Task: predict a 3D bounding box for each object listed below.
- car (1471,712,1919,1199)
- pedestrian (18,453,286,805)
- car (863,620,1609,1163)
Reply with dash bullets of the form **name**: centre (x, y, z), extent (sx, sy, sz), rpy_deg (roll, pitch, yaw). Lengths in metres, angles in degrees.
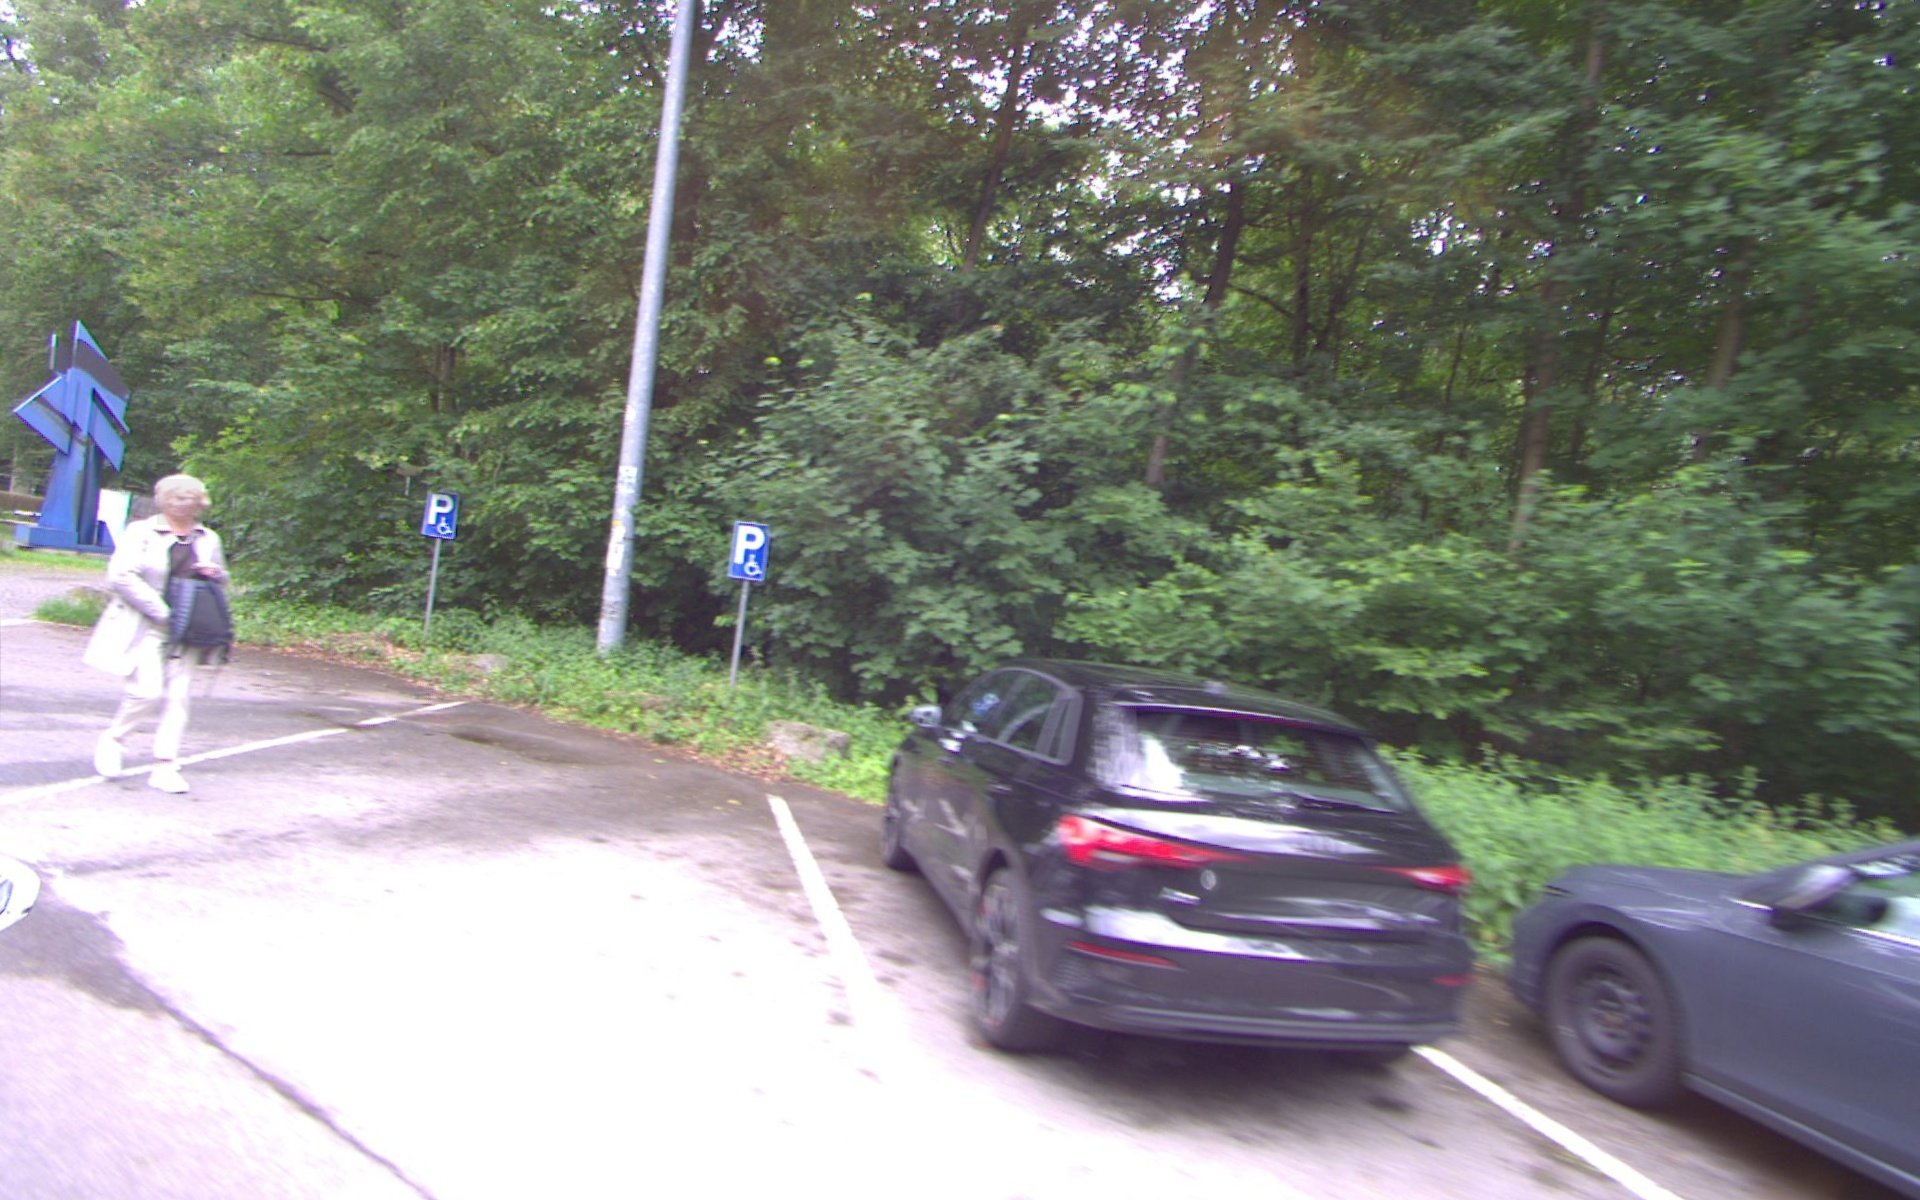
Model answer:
- **car**: centre (3.839, 1.387, 3.005), extent (1.880, 1.439, 3.991), rpy_deg (8, -1, -13)
- **pedestrian**: centre (-4.465, 0.146, 5.572), extent (0.882, 1.745, 0.762), rpy_deg (7, 0, 34)
- **car**: centre (0.746, 1.009, 5.216), extent (1.869, 1.479, 4.196), rpy_deg (8, -1, -12)
